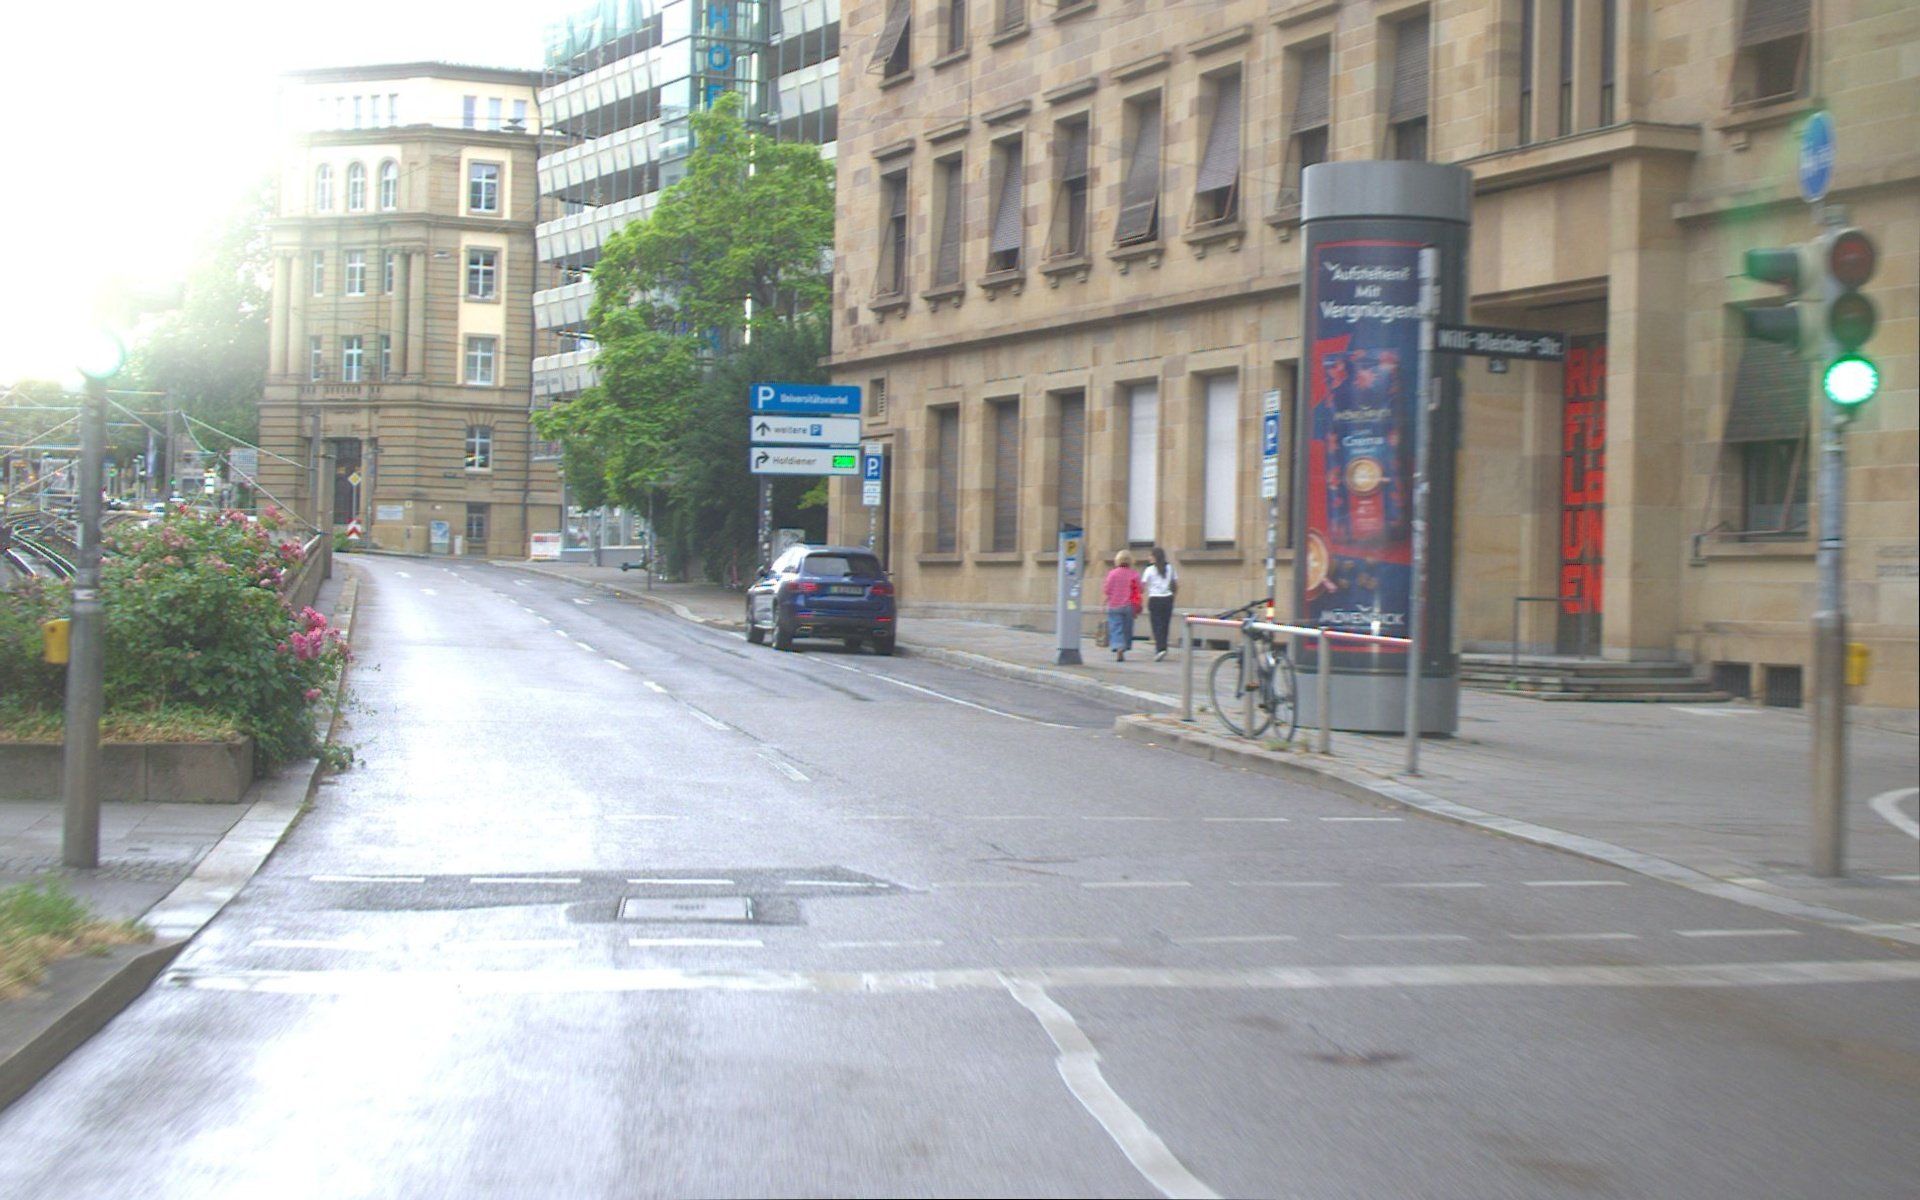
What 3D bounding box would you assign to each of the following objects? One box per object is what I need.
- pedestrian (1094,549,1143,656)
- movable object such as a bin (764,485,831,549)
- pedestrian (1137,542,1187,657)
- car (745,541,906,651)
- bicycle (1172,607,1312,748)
[{"bbox_3d":[2.236,0.027,48.582,0.524,1.487,0.674,2,1,-8],"label":"pedestrian"},{"bbox_3d":[-3.384,-1.728,71.502,1.239,1.305,1.234,0,1,-9],"label":"movable object such as a bin"},{"bbox_3d":[2.870,-0.013,48.871,0.524,1.597,0.674,2,1,-9],"label":"pedestrian"},{"bbox_3d":[-2.162,-0.093,54.211,1.767,1.614,4.159,2,0,-13],"label":"car"},{"bbox_3d":[2.176,0.584,26.736,0.489,1.009,1.928,2,1,-13],"label":"bicycle"}]
